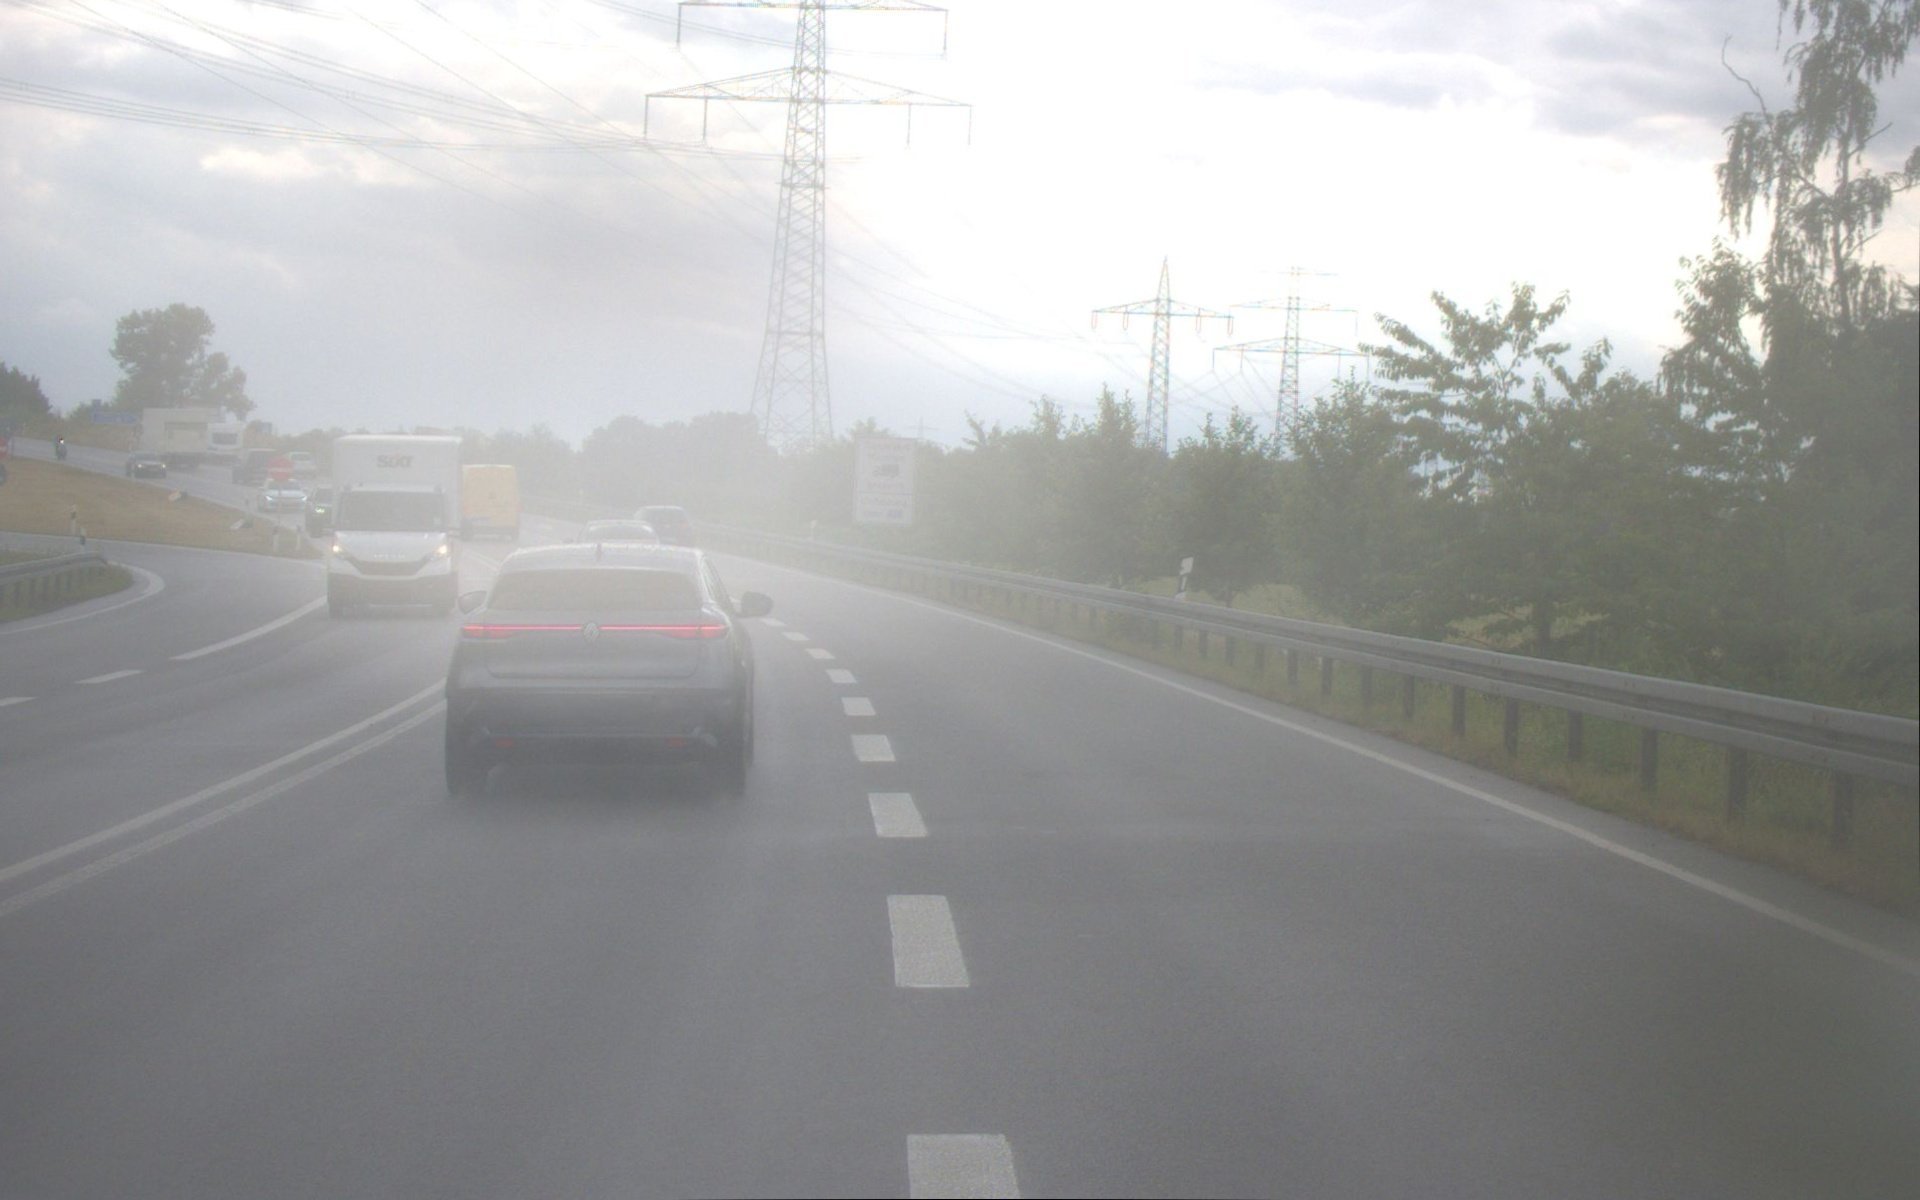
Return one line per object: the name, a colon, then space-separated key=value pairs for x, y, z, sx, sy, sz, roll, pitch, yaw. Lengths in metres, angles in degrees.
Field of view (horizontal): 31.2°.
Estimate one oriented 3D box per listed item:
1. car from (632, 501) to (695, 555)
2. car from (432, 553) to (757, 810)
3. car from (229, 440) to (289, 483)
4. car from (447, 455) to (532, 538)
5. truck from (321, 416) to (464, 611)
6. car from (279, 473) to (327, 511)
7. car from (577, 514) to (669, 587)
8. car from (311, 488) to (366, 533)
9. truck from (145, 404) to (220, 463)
car: x=-8.820 y=-2.127 z=102.207 sx=1.791 sy=1.536 sz=4.001 roll=-1 pitch=1 yaw=-5
car: x=-2.191 y=0.434 z=21.509 sx=1.791 sy=1.436 sz=4.001 roll=-1 pitch=1 yaw=-3
car: x=-37.824 y=-7.445 z=185.492 sx=2.601 sy=2.242 sz=5.537 roll=1 pitch=2 yaw=-17
car: x=-16.112 y=-3.494 z=117.400 sx=2.572 sy=2.716 sz=7.198 roll=1 pitch=1 yaw=-10
truck: x=-9.710 y=-1.459 z=58.861 sx=2.255 sy=3.145 sz=6.692 roll=0 pitch=1 yaw=-9
car: x=-28.239 y=-4.634 z=147.717 sx=1.799 sy=1.569 sz=4.261 roll=0 pitch=1 yaw=-14
car: x=-6.841 y=-1.001 z=69.542 sx=1.791 sy=1.436 sz=4.001 roll=0 pitch=1 yaw=-6
car: x=-22.232 y=-3.190 z=123.109 sx=1.799 sy=1.569 sz=4.261 roll=0 pitch=1 yaw=-9
truck: x=-46.975 y=-10.027 z=207.627 sx=3.045 sy=3.373 sz=7.646 roll=1 pitch=2 yaw=-23
